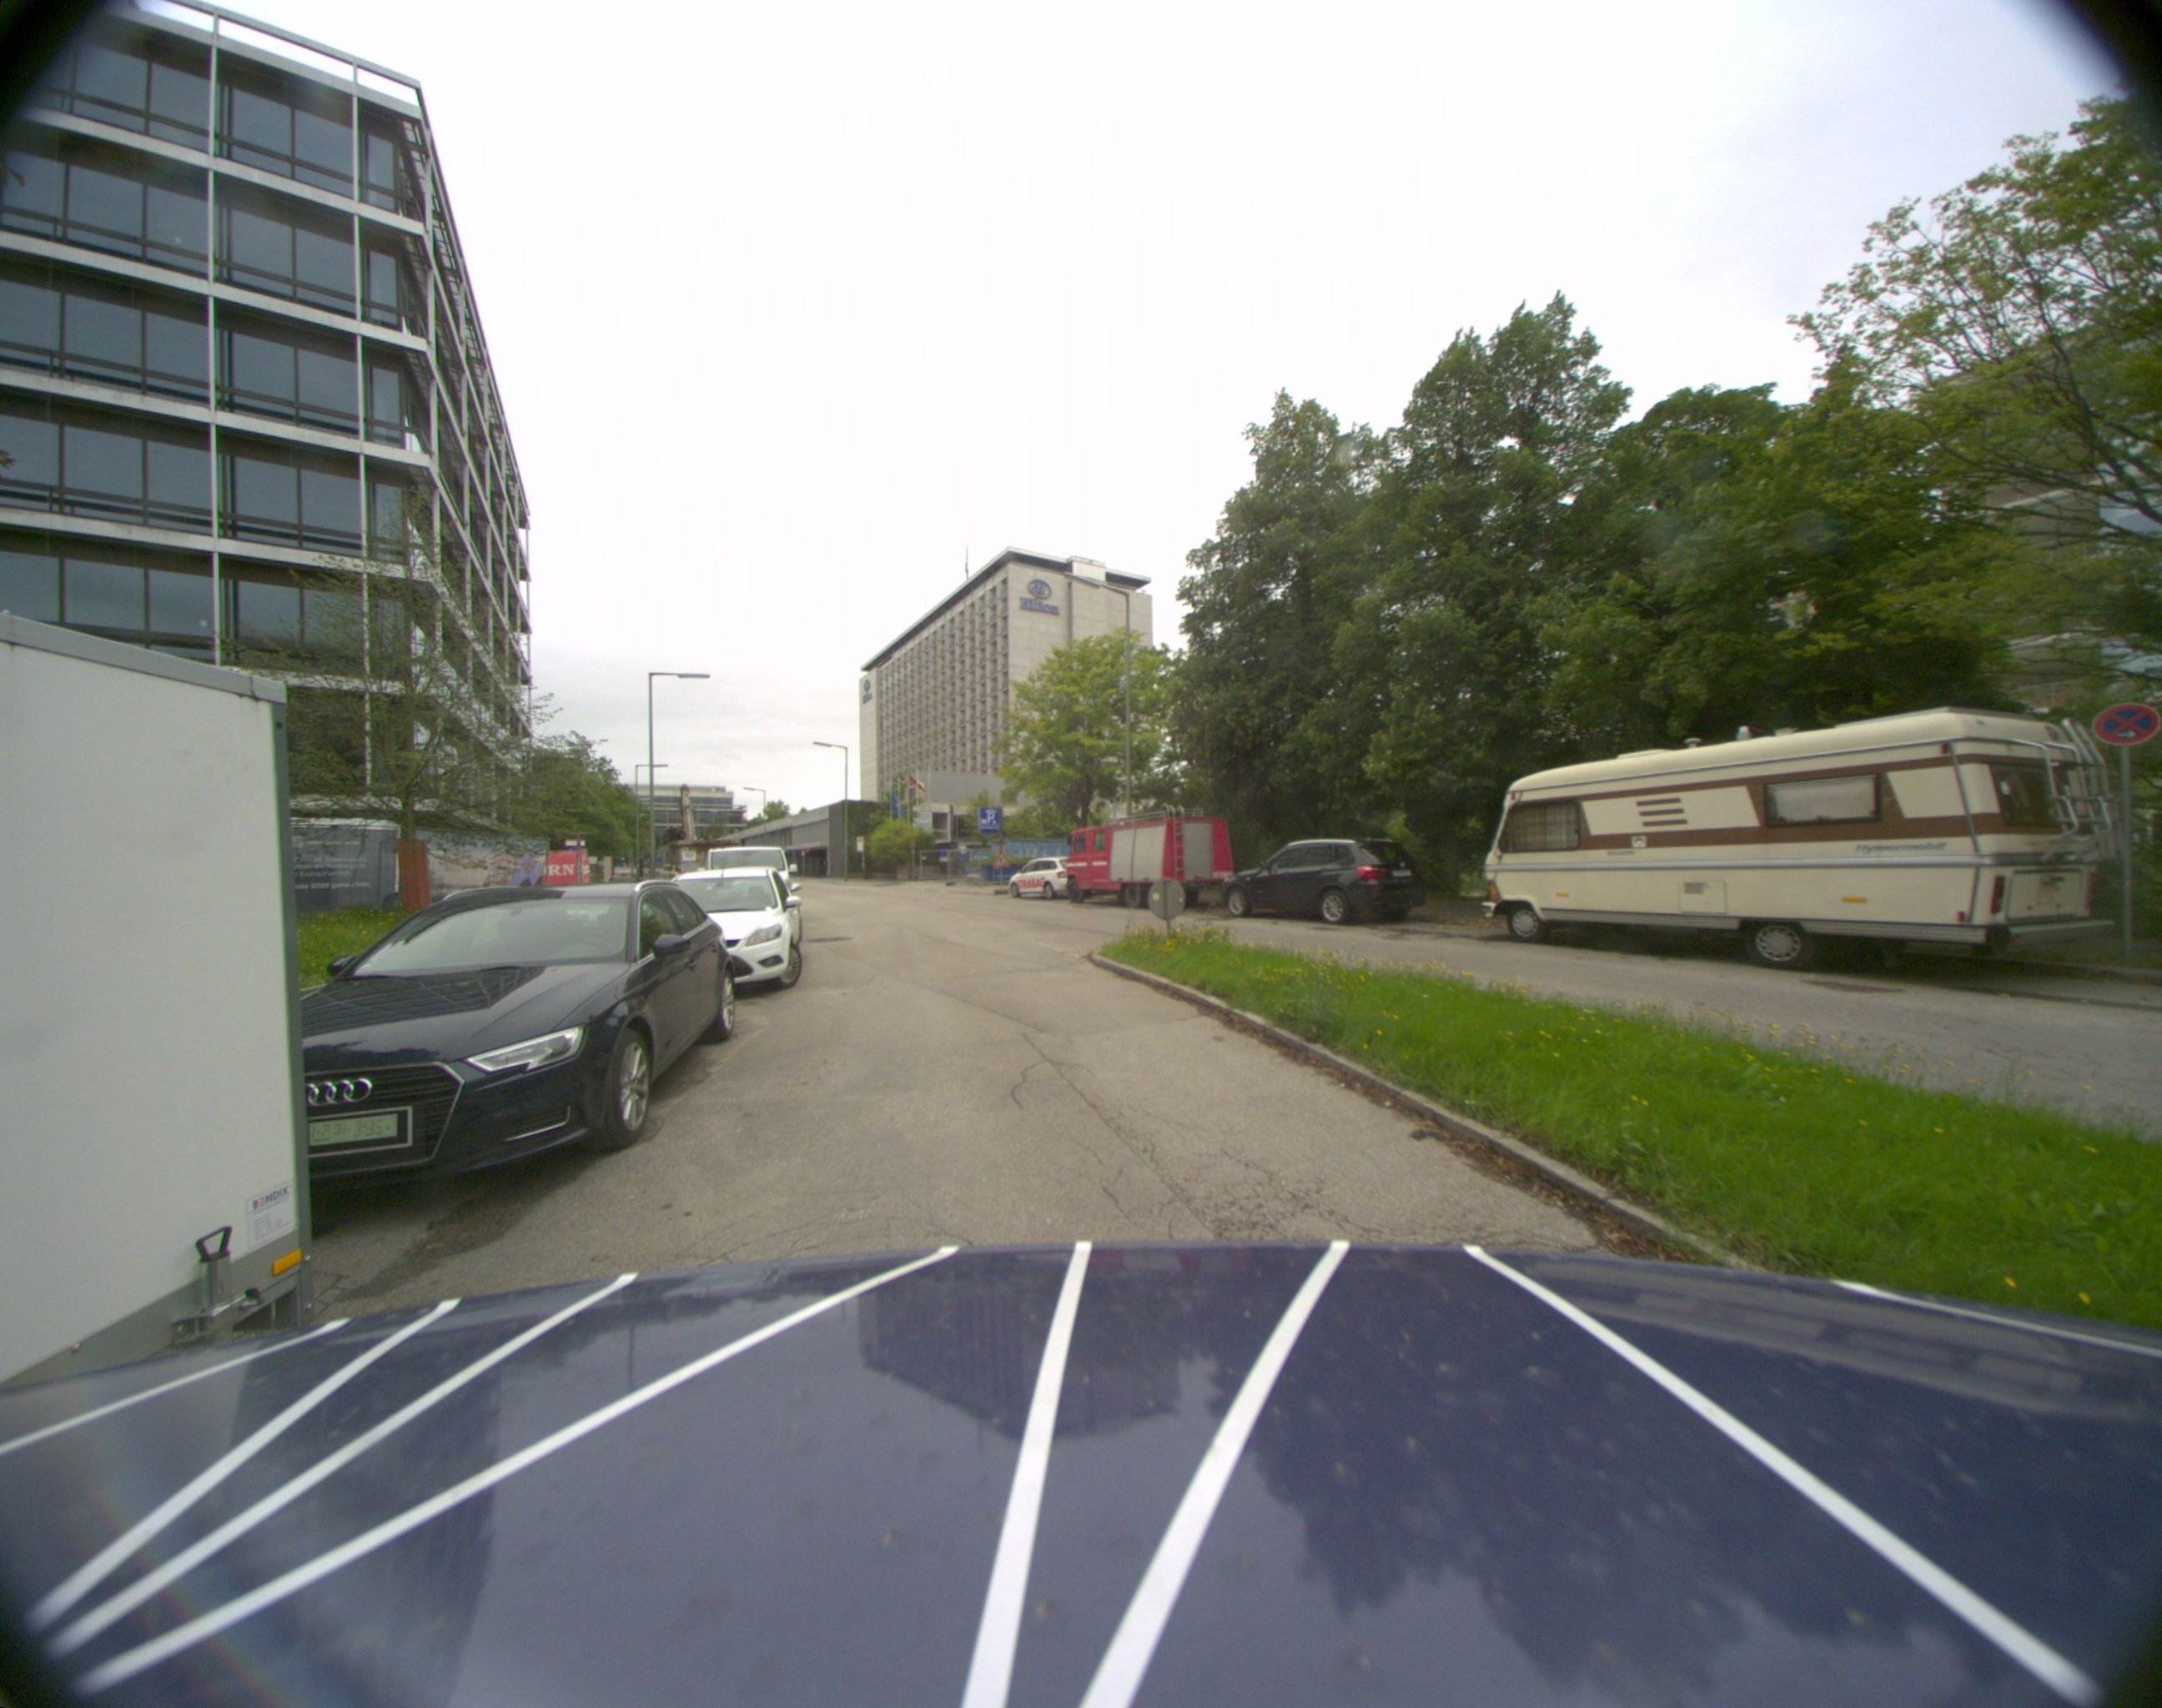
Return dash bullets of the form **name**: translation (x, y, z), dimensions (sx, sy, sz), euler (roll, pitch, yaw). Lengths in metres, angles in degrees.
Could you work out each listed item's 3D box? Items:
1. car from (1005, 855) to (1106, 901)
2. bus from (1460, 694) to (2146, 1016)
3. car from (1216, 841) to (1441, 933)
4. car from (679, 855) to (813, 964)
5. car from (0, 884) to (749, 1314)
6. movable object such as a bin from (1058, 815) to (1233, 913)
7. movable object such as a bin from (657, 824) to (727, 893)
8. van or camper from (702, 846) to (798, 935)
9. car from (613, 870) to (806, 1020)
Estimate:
- **car**: translation (-1.031, 0.836, 28.012), dimensions (1.785, 1.540, 4.246), euler (-1, 0, -33)
- **bus**: translation (7.943, 0.013, 9.421), dimensions (2.325, 2.683, 5.724), euler (-1, 0, -21)
- **car**: translation (4.964, 0.603, 15.923), dimensions (1.784, 1.640, 4.450), euler (-1, 0, -29)
- **car**: translation (-6.448, 0.904, 14.666), dimensions (2.002, 1.718, 4.440), euler (-1, 1, -24)
- **car**: translation (-3.623, 0.987, 5.098), dimensions (1.879, 1.428, 4.323), euler (0, 0, -14)
- **movable object such as a bin**: translation (1.618, 0.269, 22.142), dimensions (2.114, 2.444, 6.173), euler (-1, 0, -27)
- **movable object such as a bin**: translation (-23.131, 0.218, 44.953), dimensions (3.256, 3.695, 8.986), euler (-1, 1, -29)
- **van or camper**: translation (-8.820, 0.811, 20.059), dimensions (2.003, 2.002, 5.365), euler (-1, 1, -26)
- **car**: translation (-4.751, 1.011, 10.308), dimensions (1.774, 1.477, 4.214), euler (-1, 0, -18)
